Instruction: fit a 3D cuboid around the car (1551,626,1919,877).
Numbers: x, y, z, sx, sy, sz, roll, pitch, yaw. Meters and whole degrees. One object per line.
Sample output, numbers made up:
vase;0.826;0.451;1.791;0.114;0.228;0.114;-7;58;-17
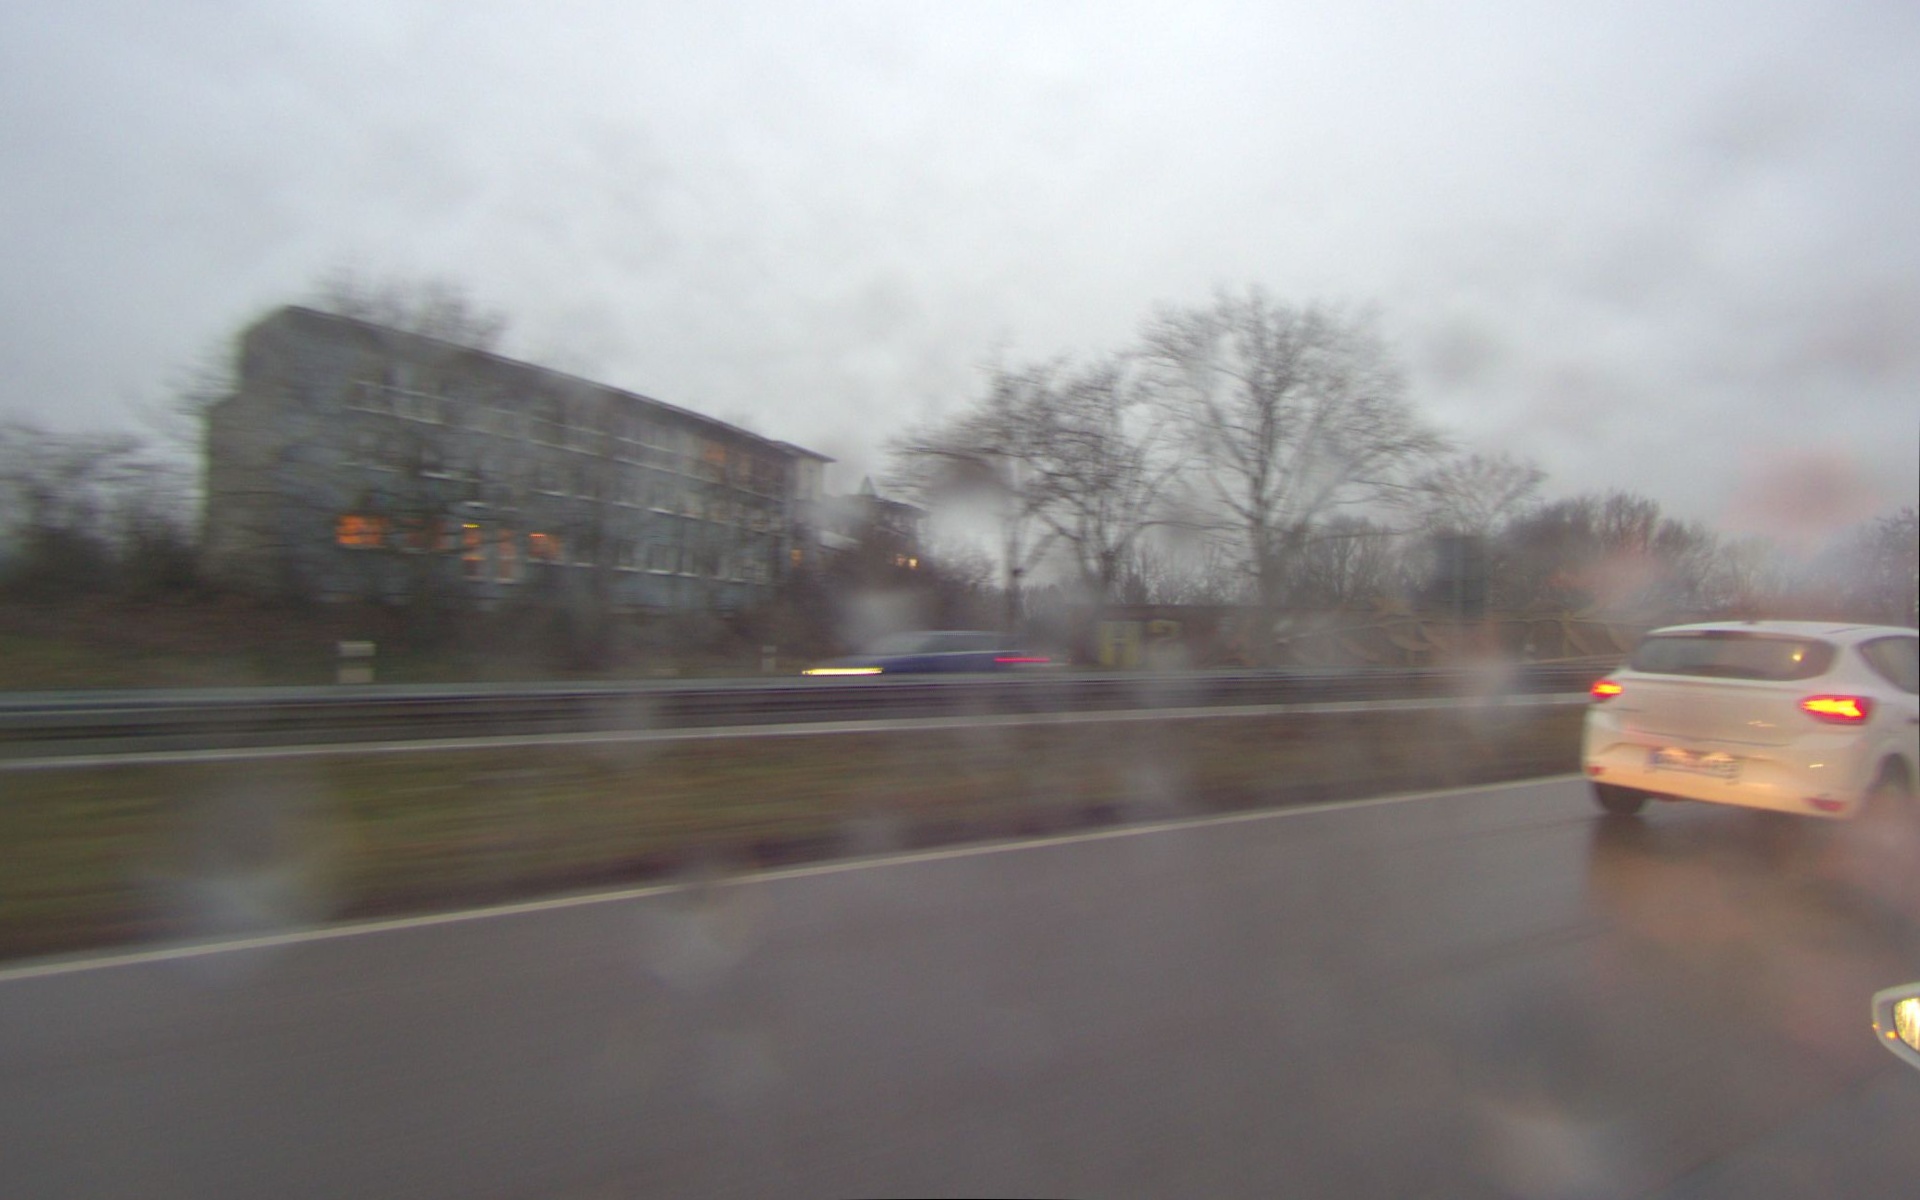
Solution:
car;6.600;0.955;7.611;4.171;1.459;1.718;1;-2;-27

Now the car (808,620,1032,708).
car;-0.762;1.215;19.646;4.001;1.553;1.777;2;-1;-27

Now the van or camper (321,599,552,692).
van or camper;-10.983;0.965;21.333;4.154;1.807;1.643;2;-1;-27

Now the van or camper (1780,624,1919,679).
van or camper;30.285;1.741;34.162;4.815;1.759;1.757;1;-1;-24
